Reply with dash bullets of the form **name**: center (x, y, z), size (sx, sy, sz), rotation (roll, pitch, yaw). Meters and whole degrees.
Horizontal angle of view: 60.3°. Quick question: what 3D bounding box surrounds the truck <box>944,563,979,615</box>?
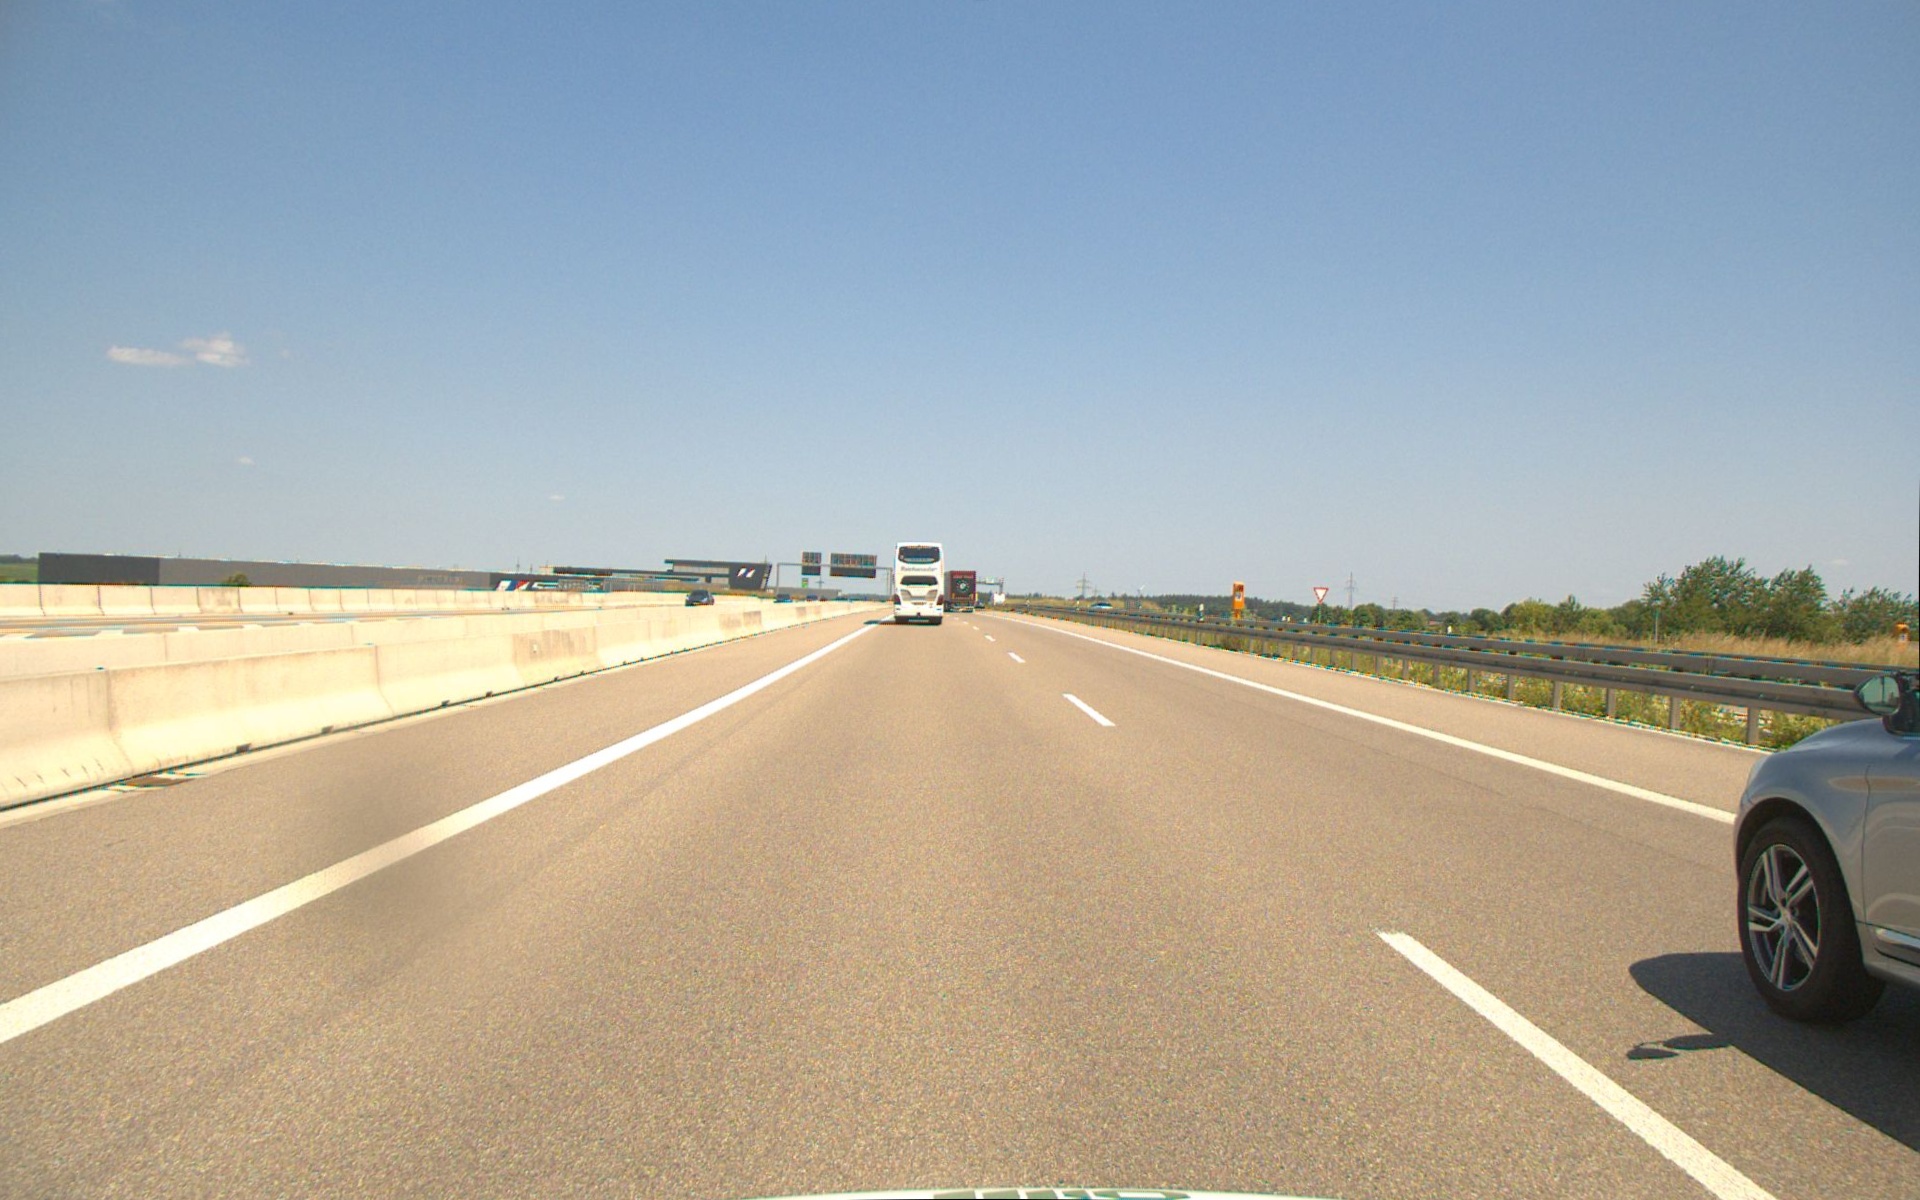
- **truck**: center (0.148, -0.975, 166.911), size (3.310, 4.542, 13.564), rotation (1, -2, 0)

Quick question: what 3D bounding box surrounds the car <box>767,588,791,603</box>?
- **car**: center (-18.706, -0.464, 170.908), size (1.873, 1.445, 4.908), rotation (1, 0, 0)

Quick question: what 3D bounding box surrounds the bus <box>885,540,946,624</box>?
- **bus**: center (-2.396, -0.911, 86.134), size (2.920, 4.044, 9.100), rotation (1, 0, -2)

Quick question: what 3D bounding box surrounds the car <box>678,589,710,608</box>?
- **car**: center (-21.367, -0.145, 132.961), size (1.872, 1.445, 4.549), rotation (1, 0, -1)

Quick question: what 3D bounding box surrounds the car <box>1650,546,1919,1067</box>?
- **car**: center (3.978, 0.671, 4.777), size (1.842, 1.651, 4.903), rotation (1, 0, -1)

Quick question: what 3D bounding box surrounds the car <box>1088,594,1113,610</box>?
- **car**: center (13.537, 0.183, 159.712), size (1.853, 1.556, 4.260), rotation (1, 0, -2)

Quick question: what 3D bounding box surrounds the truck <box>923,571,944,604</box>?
- **truck**: center (-3.237, -1.483, 199.770), size (2.388, 3.855, 6.490), rotation (1, 0, -2)
